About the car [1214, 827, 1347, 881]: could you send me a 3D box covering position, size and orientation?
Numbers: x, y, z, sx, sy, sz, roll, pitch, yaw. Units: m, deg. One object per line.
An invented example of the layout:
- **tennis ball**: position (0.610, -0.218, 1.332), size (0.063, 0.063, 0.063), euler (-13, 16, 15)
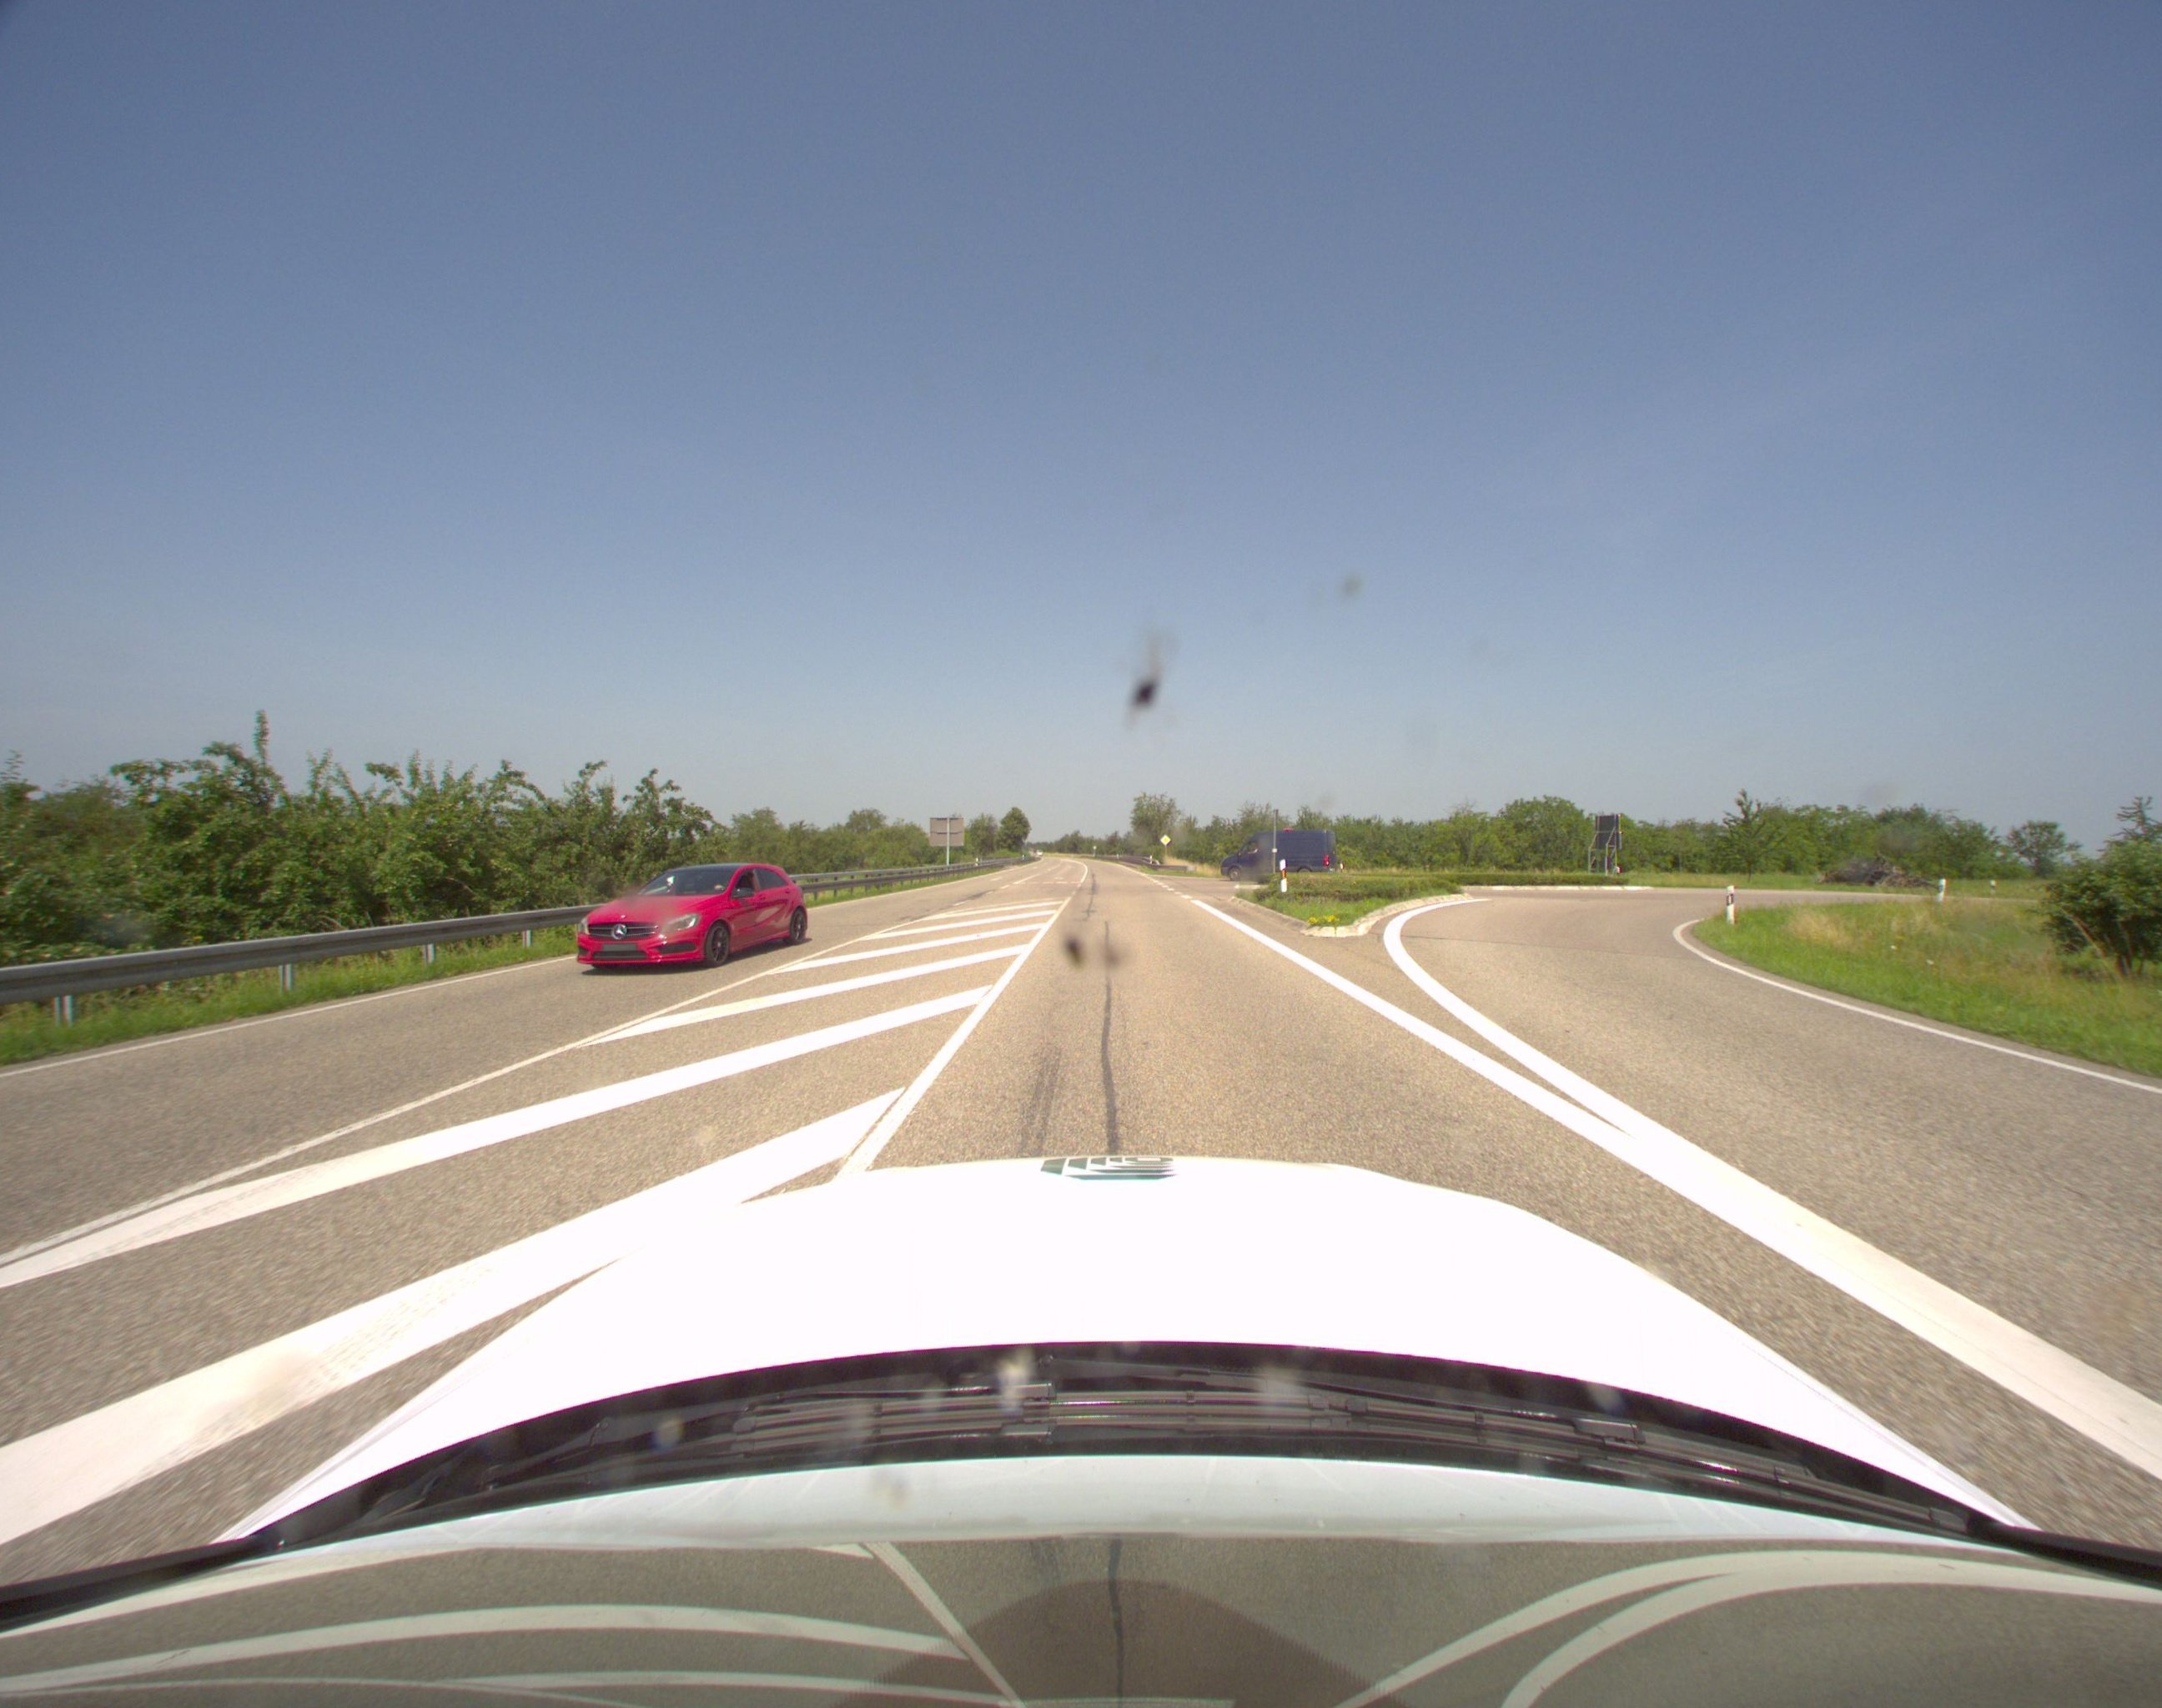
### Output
- **car**: position (10.115, 0.037, 41.581), size (6.231, 2.575, 2.075), euler (-1, 0, 31)

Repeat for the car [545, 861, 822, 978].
- **car**: position (-5.791, 0.859, 12.631), size (1.807, 1.449, 4.500), euler (-1, 0, 4)
